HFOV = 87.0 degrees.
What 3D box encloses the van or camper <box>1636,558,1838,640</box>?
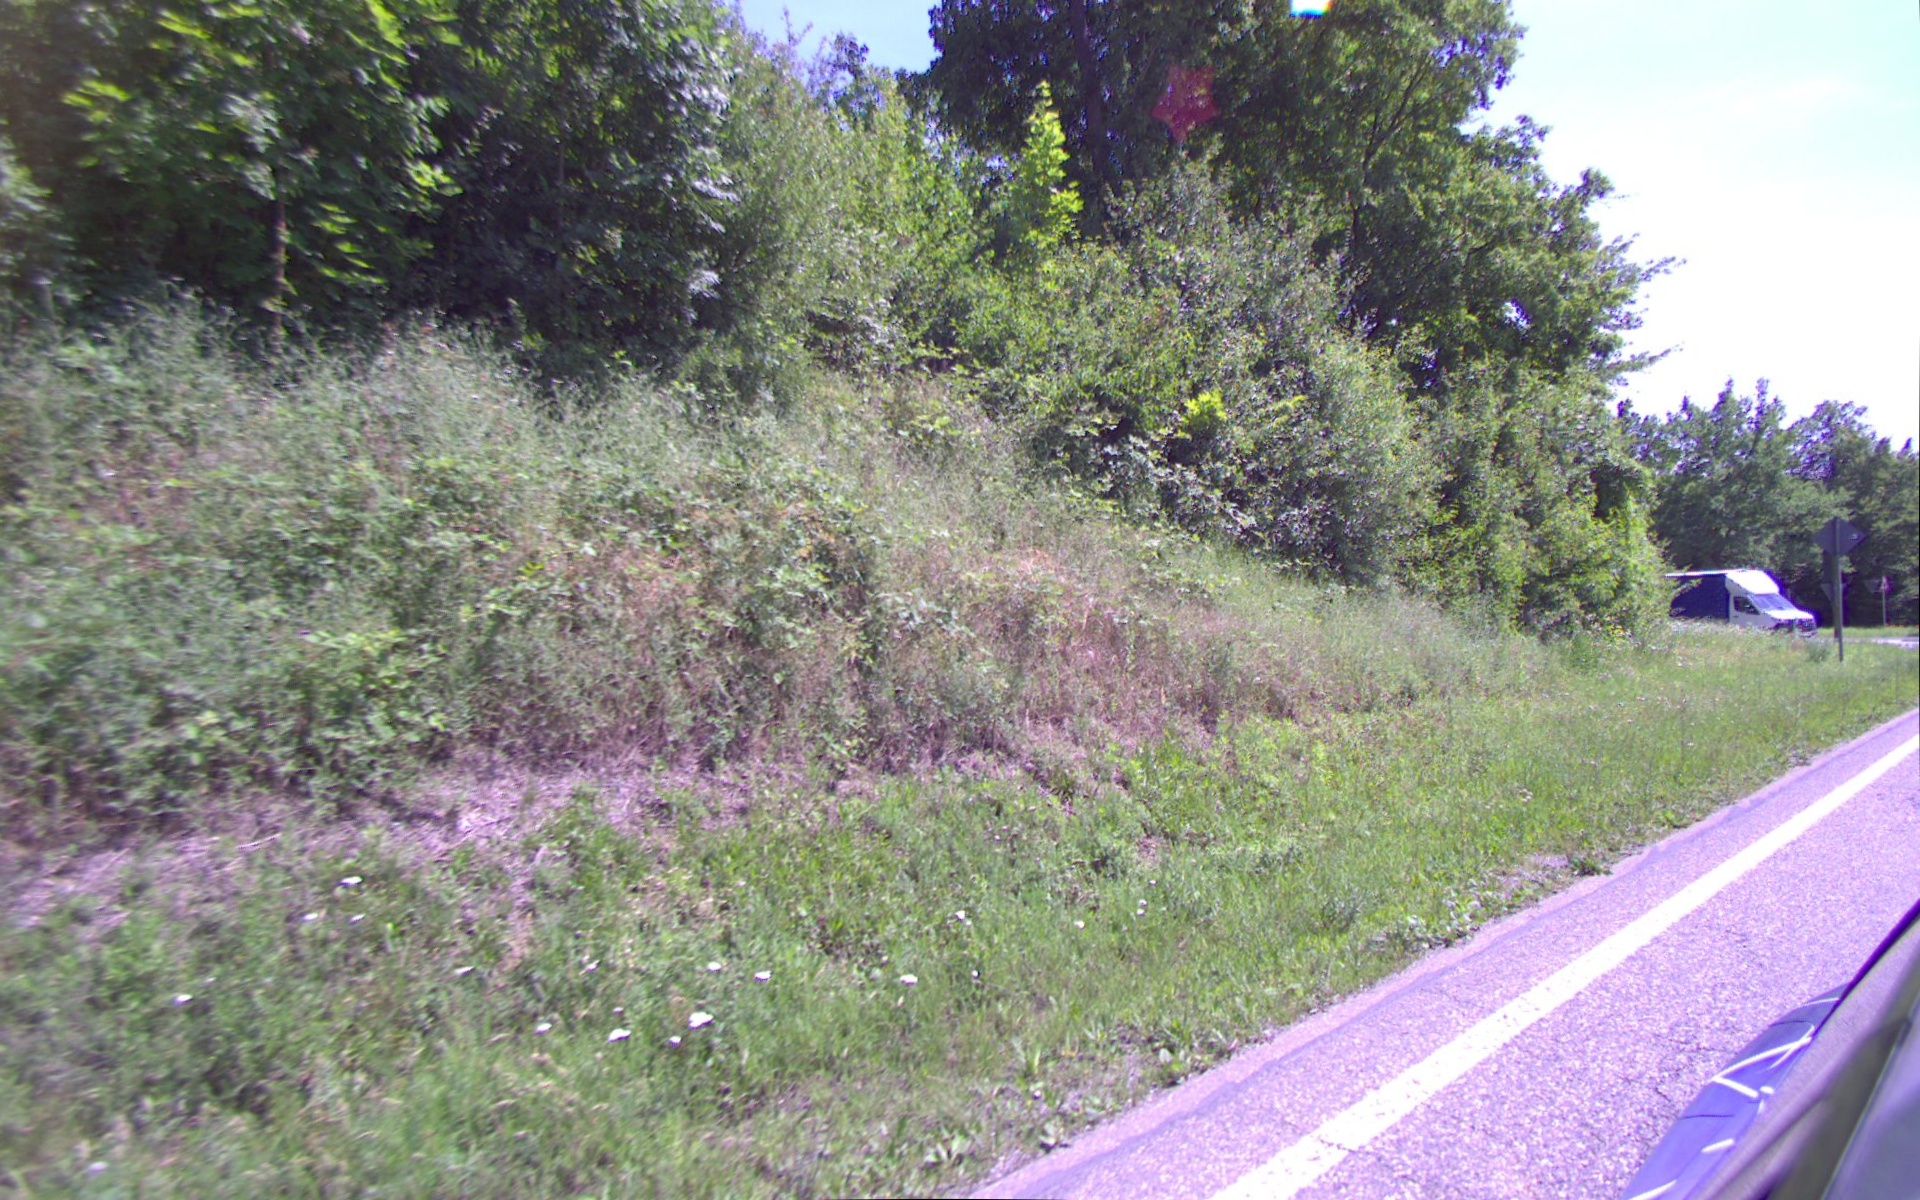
[{"bbox_3d":[33.709,0.030,44.342,2.061,3.253,7.265,-1,-1,-13],"label":"van or camper"}]
